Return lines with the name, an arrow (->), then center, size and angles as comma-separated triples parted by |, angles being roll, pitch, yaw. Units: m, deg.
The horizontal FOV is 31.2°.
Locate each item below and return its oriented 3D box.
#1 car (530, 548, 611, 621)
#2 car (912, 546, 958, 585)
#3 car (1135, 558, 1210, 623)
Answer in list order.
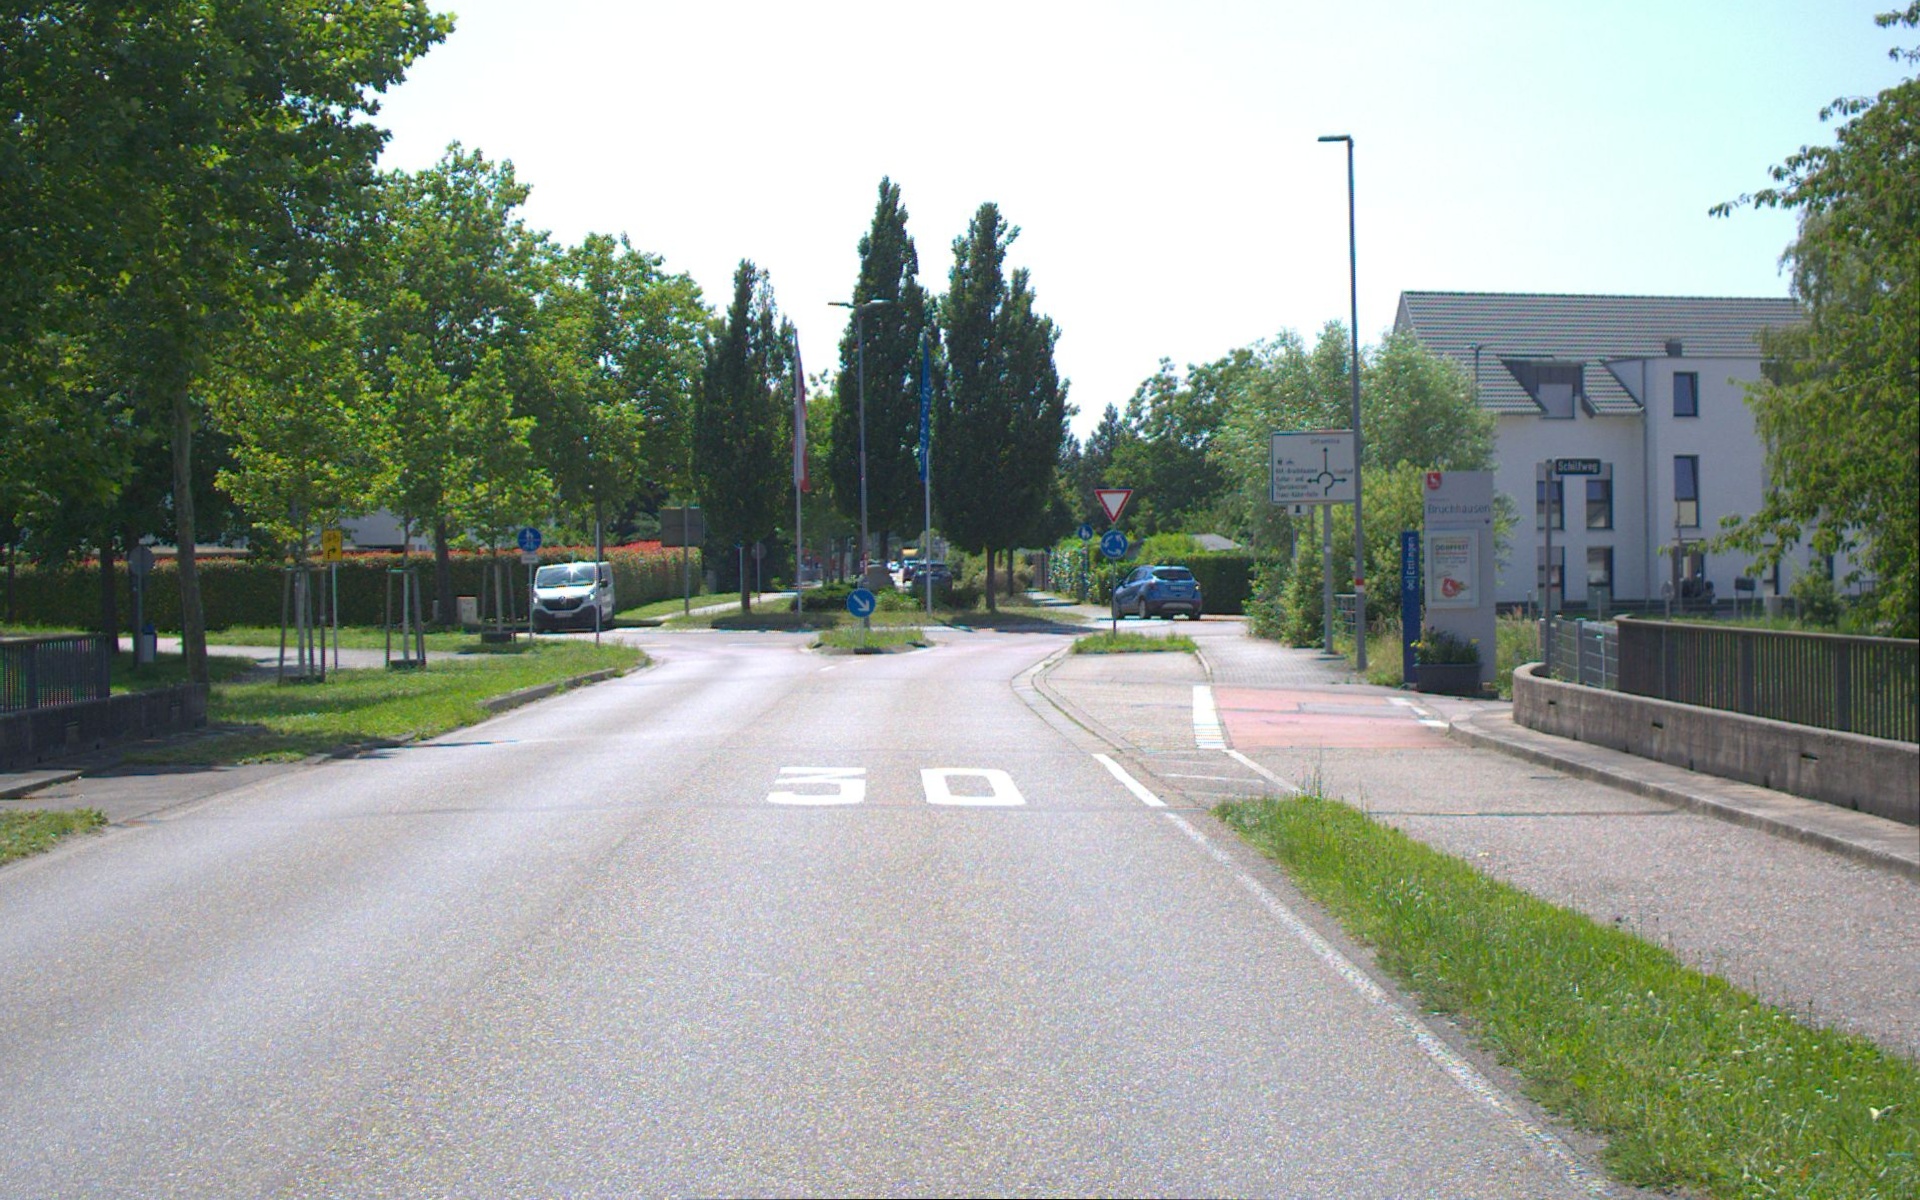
car -> -11.050, -0.439, 97.840 | 2.127, 2.007, 5.149 | 1, 0, -5
car -> -1.146, -1.574, 156.729 | 1.993, 1.764, 4.000 | 0, 1, 1
car -> 6.348, -0.296, 102.968 | 1.923, 1.879, 4.000 | 1, 0, -1
